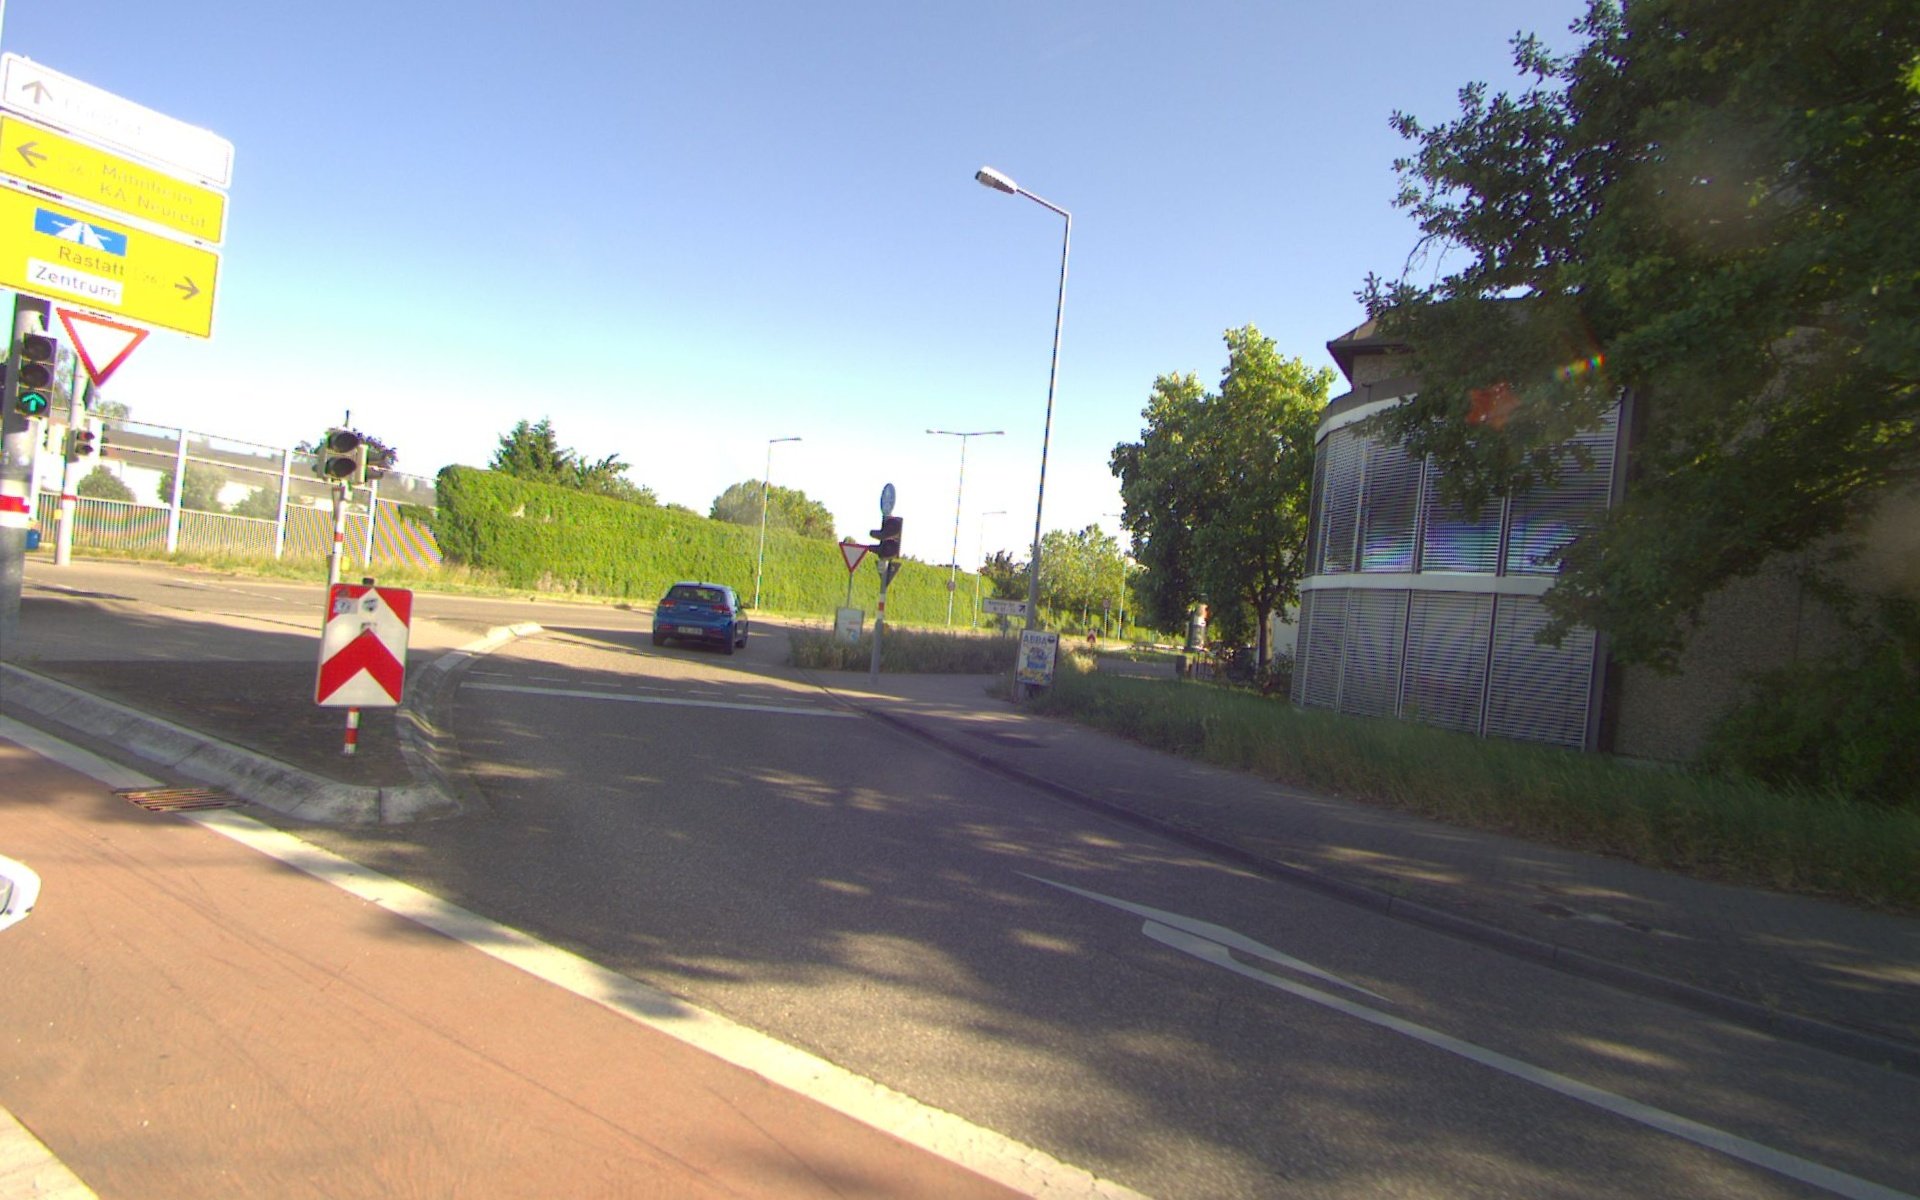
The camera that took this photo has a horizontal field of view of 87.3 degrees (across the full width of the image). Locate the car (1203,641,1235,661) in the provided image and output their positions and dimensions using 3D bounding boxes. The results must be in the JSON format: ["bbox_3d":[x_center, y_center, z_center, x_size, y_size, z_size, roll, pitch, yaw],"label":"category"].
[{"bbox_3d":[21.469,4.234,83.357,1.703,1.451,3.997,6,-1,26],"label":"car"}]

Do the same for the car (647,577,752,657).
[{"bbox_3d":[-5.751,0.336,22.634,1.707,1.458,3.788,7,0,-8],"label":"car"}]
